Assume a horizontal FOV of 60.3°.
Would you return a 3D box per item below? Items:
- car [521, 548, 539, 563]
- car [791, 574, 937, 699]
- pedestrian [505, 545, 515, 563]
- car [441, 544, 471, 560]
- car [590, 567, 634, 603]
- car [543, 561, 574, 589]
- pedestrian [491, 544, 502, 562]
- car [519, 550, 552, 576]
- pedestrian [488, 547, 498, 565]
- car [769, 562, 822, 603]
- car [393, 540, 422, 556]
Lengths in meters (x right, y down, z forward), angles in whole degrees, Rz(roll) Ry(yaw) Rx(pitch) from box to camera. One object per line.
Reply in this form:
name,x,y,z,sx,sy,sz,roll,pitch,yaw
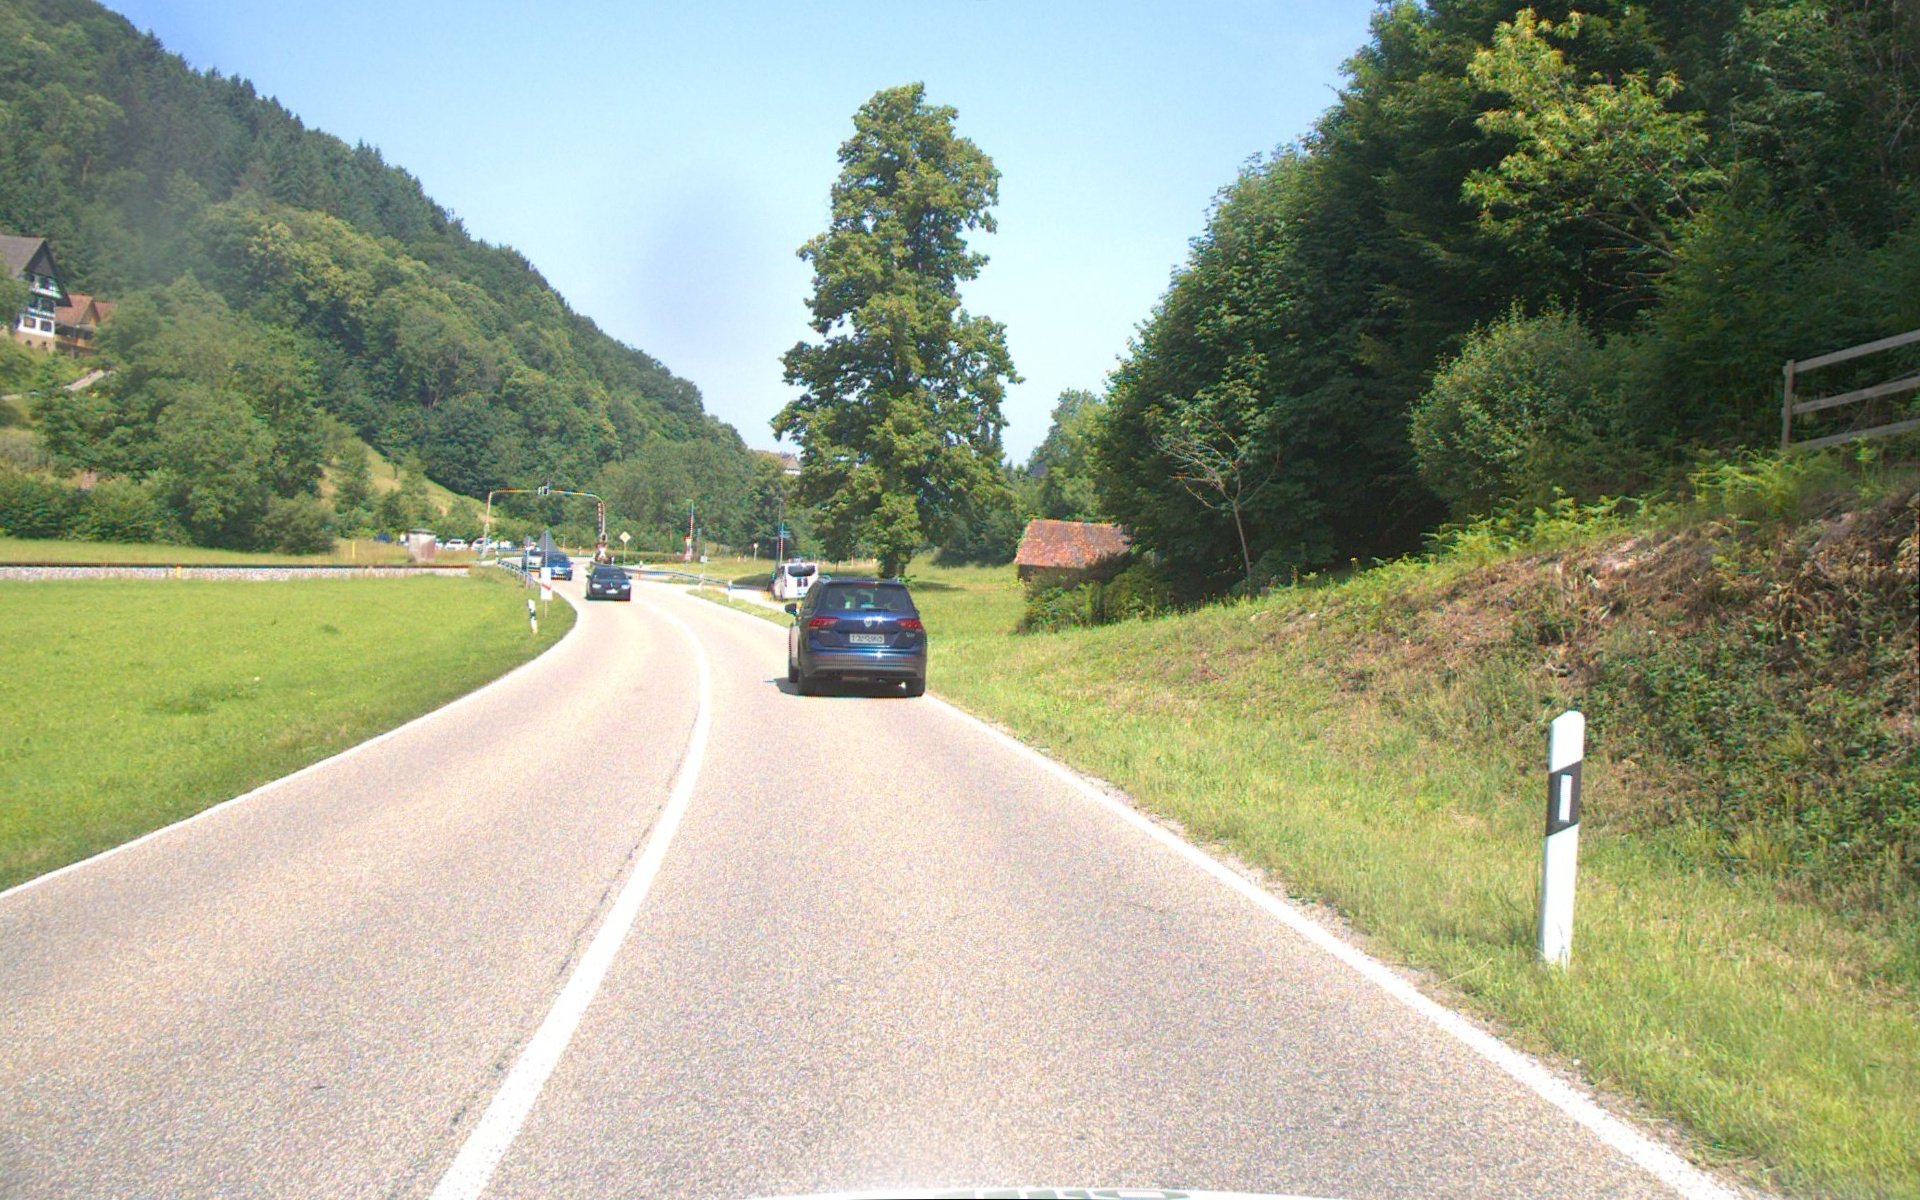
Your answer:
car,-46.754,-4.866,179.947,1.795,1.526,4.263,2,1,-13
car,-1.493,0.470,24.268,1.818,1.678,4.133,0,0,-8
pedestrian,-47.657,-4.864,174.989,0.635,1.891,0.769,2,1,29
car,-54.853,-5.234,180.118,1.954,1.670,4.899,2,1,-4
car,-16.103,-0.718,76.447,1.883,1.496,4.496,2,1,-13
car,-25.360,-1.571,104.570,1.834,1.652,4.495,1,1,-14
pedestrian,-48.919,-4.967,174.685,0.753,1.827,0.794,2,1,23
car,-30.158,-2.638,117.437,1.887,1.744,4.135,1,1,-20
pedestrian,-49.011,-4.641,173.422,0.771,1.874,0.699,2,1,5
car,-8.448,-0.916,84.457,1.966,1.880,4.851,-3,2,-14
car,-59.878,-5.640,179.348,1.955,1.526,4.516,4,1,-6
